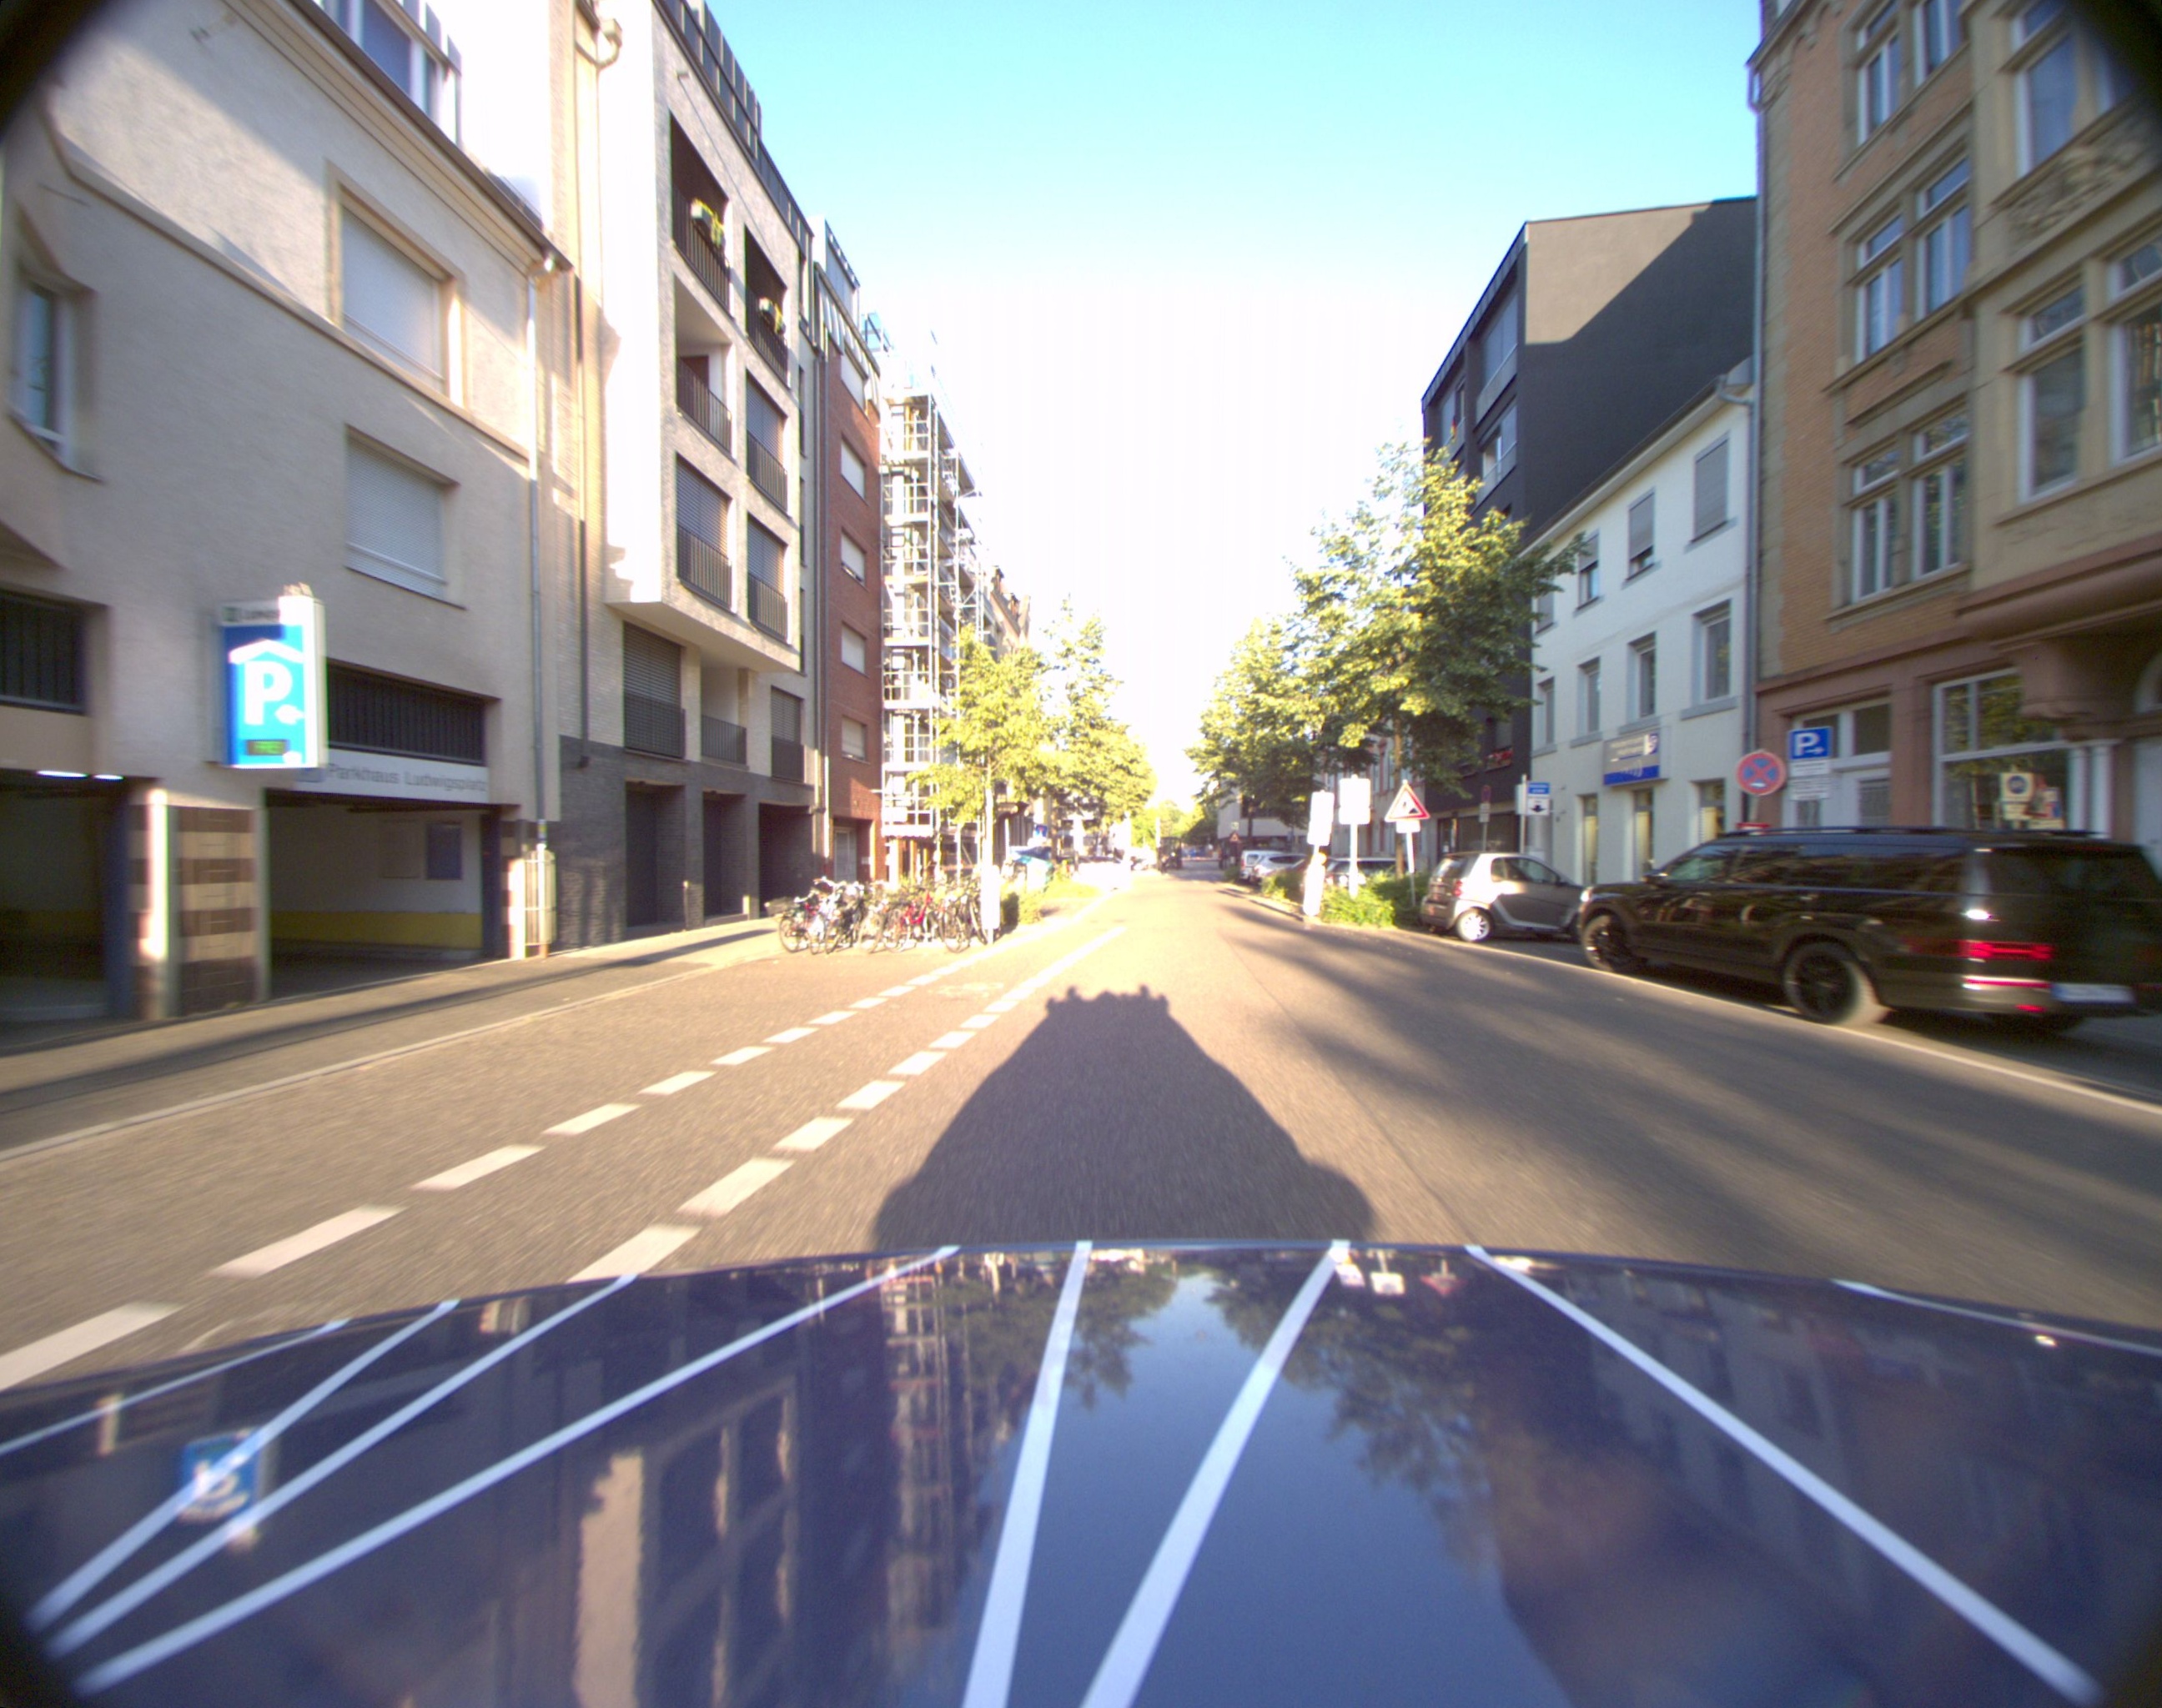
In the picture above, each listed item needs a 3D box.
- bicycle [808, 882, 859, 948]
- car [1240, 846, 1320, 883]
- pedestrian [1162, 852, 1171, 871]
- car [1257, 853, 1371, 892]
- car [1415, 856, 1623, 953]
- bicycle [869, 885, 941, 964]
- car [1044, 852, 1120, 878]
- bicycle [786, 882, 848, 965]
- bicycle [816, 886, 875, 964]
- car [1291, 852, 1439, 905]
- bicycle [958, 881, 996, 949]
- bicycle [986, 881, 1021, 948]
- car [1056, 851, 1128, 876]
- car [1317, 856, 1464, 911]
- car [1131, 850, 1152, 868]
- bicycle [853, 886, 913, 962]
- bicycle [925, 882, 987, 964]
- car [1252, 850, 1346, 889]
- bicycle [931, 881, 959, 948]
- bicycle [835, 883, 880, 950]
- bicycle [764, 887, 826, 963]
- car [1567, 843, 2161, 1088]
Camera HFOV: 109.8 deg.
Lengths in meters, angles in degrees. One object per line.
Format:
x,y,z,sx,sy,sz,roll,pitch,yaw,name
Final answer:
-4.616,1.114,14.254,0.382,1.094,1.523,0,1,3,bicycle
10.129,0.538,38.927,3.817,1.839,1.701,0,1,10,car
7.111,0.611,63.079,0.672,1.585,0.469,0,1,4,pedestrian
9.549,0.745,31.409,4.217,1.507,1.762,0,1,3,car
7.518,0.828,13.252,2.700,1.511,1.572,2,0,3,car
-2.773,1.091,12.125,0.371,1.101,1.525,0,1,18,bicycle
0.079,0.680,47.835,4.534,1.471,1.869,1,1,9,car
-4.229,1.083,12.259,0.382,1.182,1.523,-1,1,3,bicycle
-3.749,1.106,12.196,0.382,1.094,1.523,-1,1,3,bicycle
8.596,0.724,23.286,3.901,1.508,1.858,-1,0,7,car
-1.858,1.073,13.720,0.382,1.094,1.523,0,1,3,bicycle
-1.403,1.074,13.915,0.382,1.094,1.523,0,1,3,bicycle
0.749,0.626,50.083,4.535,1.502,1.912,1,0,6,car
8.343,0.783,20.743,3.403,1.384,1.687,-1,0,9,car
5.552,0.415,69.636,1.708,1.575,3.681,-1,1,7,car
-3.223,1.110,12.493,0.382,1.094,1.566,0,1,7,bicycle
-1.956,1.057,12.074,0.363,1.134,1.567,0,1,14,bicycle
9.627,0.671,33.840,3.832,1.576,1.742,-1,1,9,car
-2.506,1.077,13.948,0.383,1.094,1.521,0,1,-15,bicycle
-4.047,1.104,13.822,0.383,1.094,1.523,0,1,-1,bicycle
-4.720,1.139,12.638,0.382,1.094,1.523,0,1,3,bicycle
7.377,0.763,7.735,1.909,1.718,4.702,1,1,2,car
